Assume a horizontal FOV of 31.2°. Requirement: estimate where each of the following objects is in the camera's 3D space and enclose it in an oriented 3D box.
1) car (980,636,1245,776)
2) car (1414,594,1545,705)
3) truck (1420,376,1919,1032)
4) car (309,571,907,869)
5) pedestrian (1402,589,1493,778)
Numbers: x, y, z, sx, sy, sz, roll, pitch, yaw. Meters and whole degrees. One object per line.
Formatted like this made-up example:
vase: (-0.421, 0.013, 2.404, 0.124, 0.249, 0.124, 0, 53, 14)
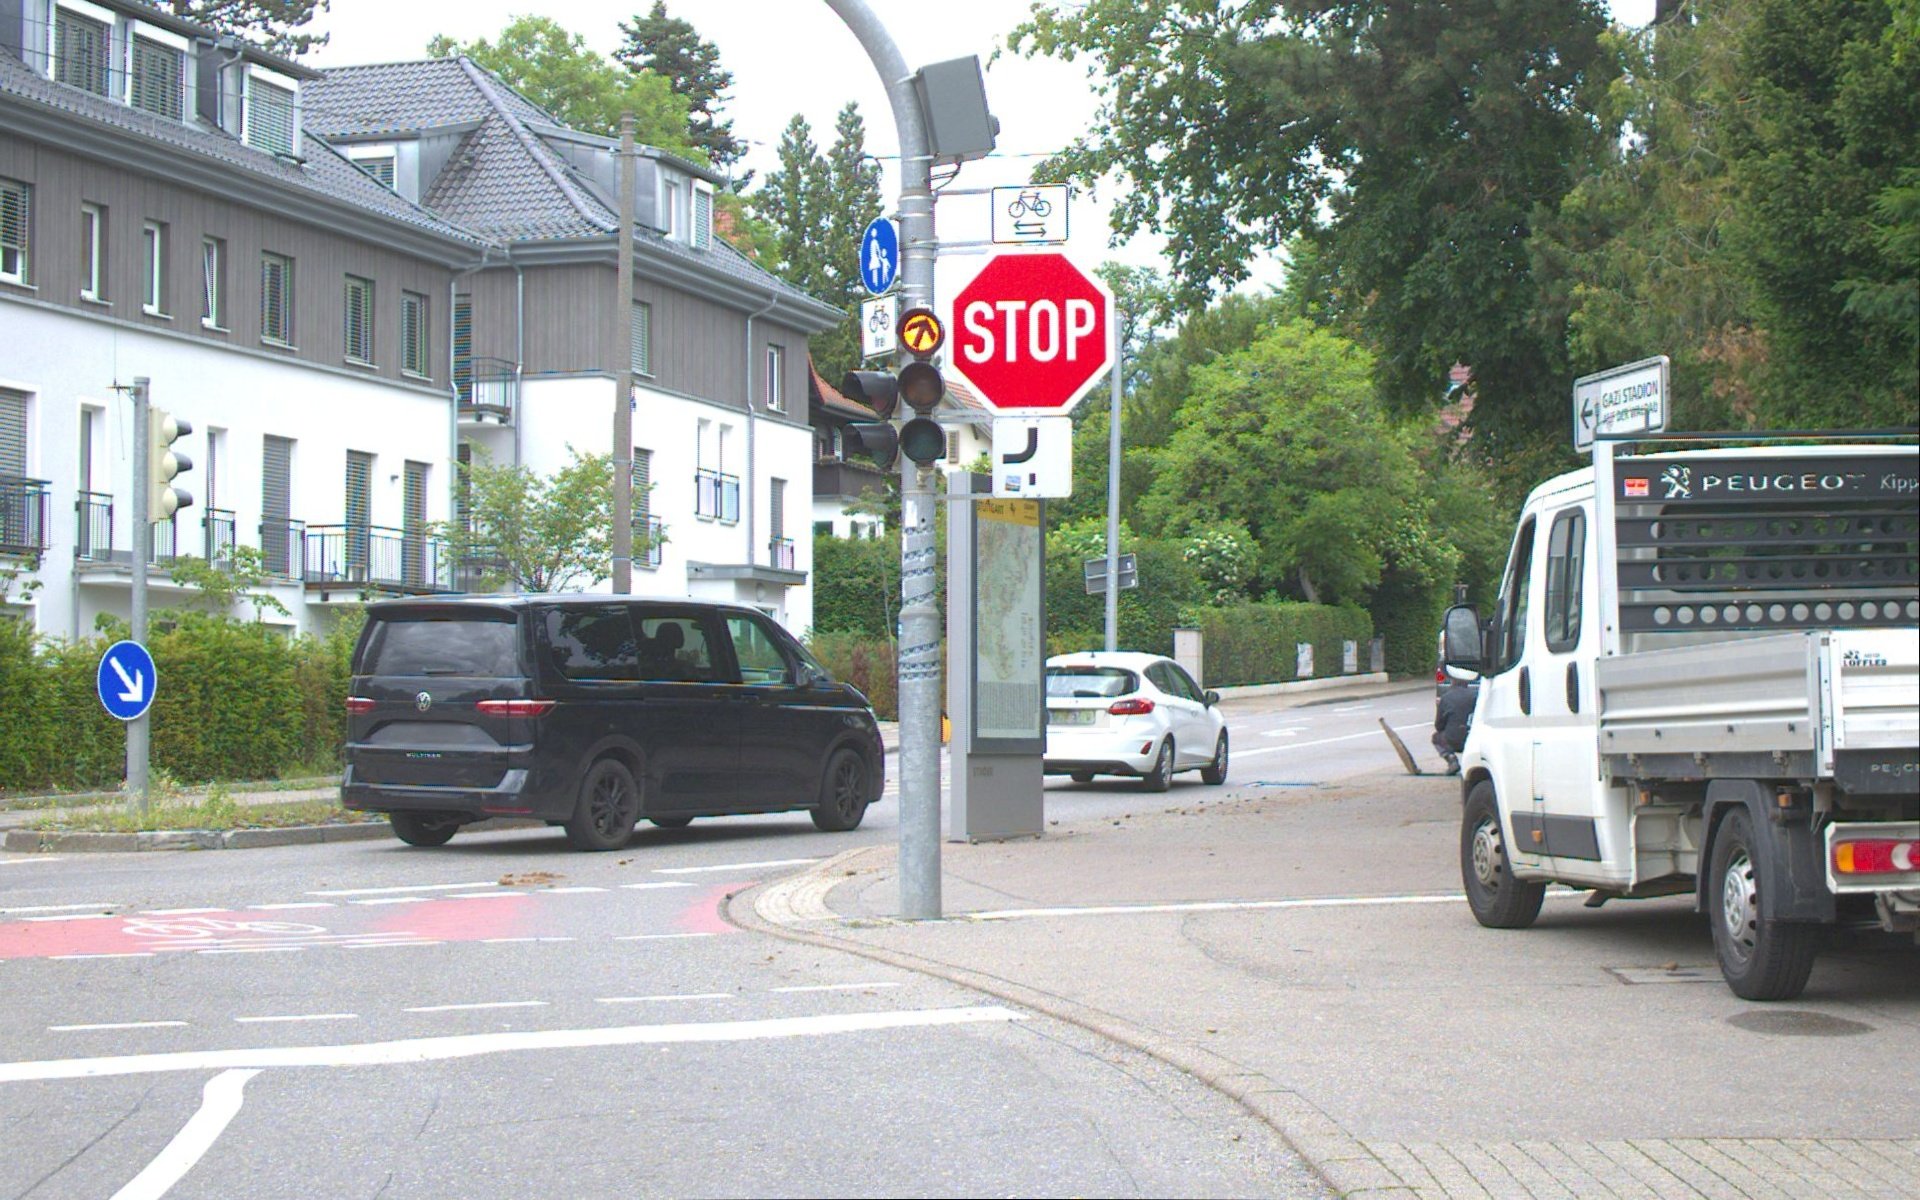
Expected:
car: (1.703, 1.144, 36.934, 1.932, 1.378, 3.996, -2, -2, 16)
car: (9.814, 0.973, 65.275, 1.994, 2.007, 4.508, 0, -2, 3)
truck: (3.651, 0.406, 14.480, 2.183, 2.187, 5.882, 0, -1, -5)
car: (-2.598, 0.821, 26.578, 1.997, 2.006, 4.772, 3, 2, 33)
pedestrian: (5.267, 0.897, 37.159, 0.838, 2.007, 0.589, -1, 0, -3)
